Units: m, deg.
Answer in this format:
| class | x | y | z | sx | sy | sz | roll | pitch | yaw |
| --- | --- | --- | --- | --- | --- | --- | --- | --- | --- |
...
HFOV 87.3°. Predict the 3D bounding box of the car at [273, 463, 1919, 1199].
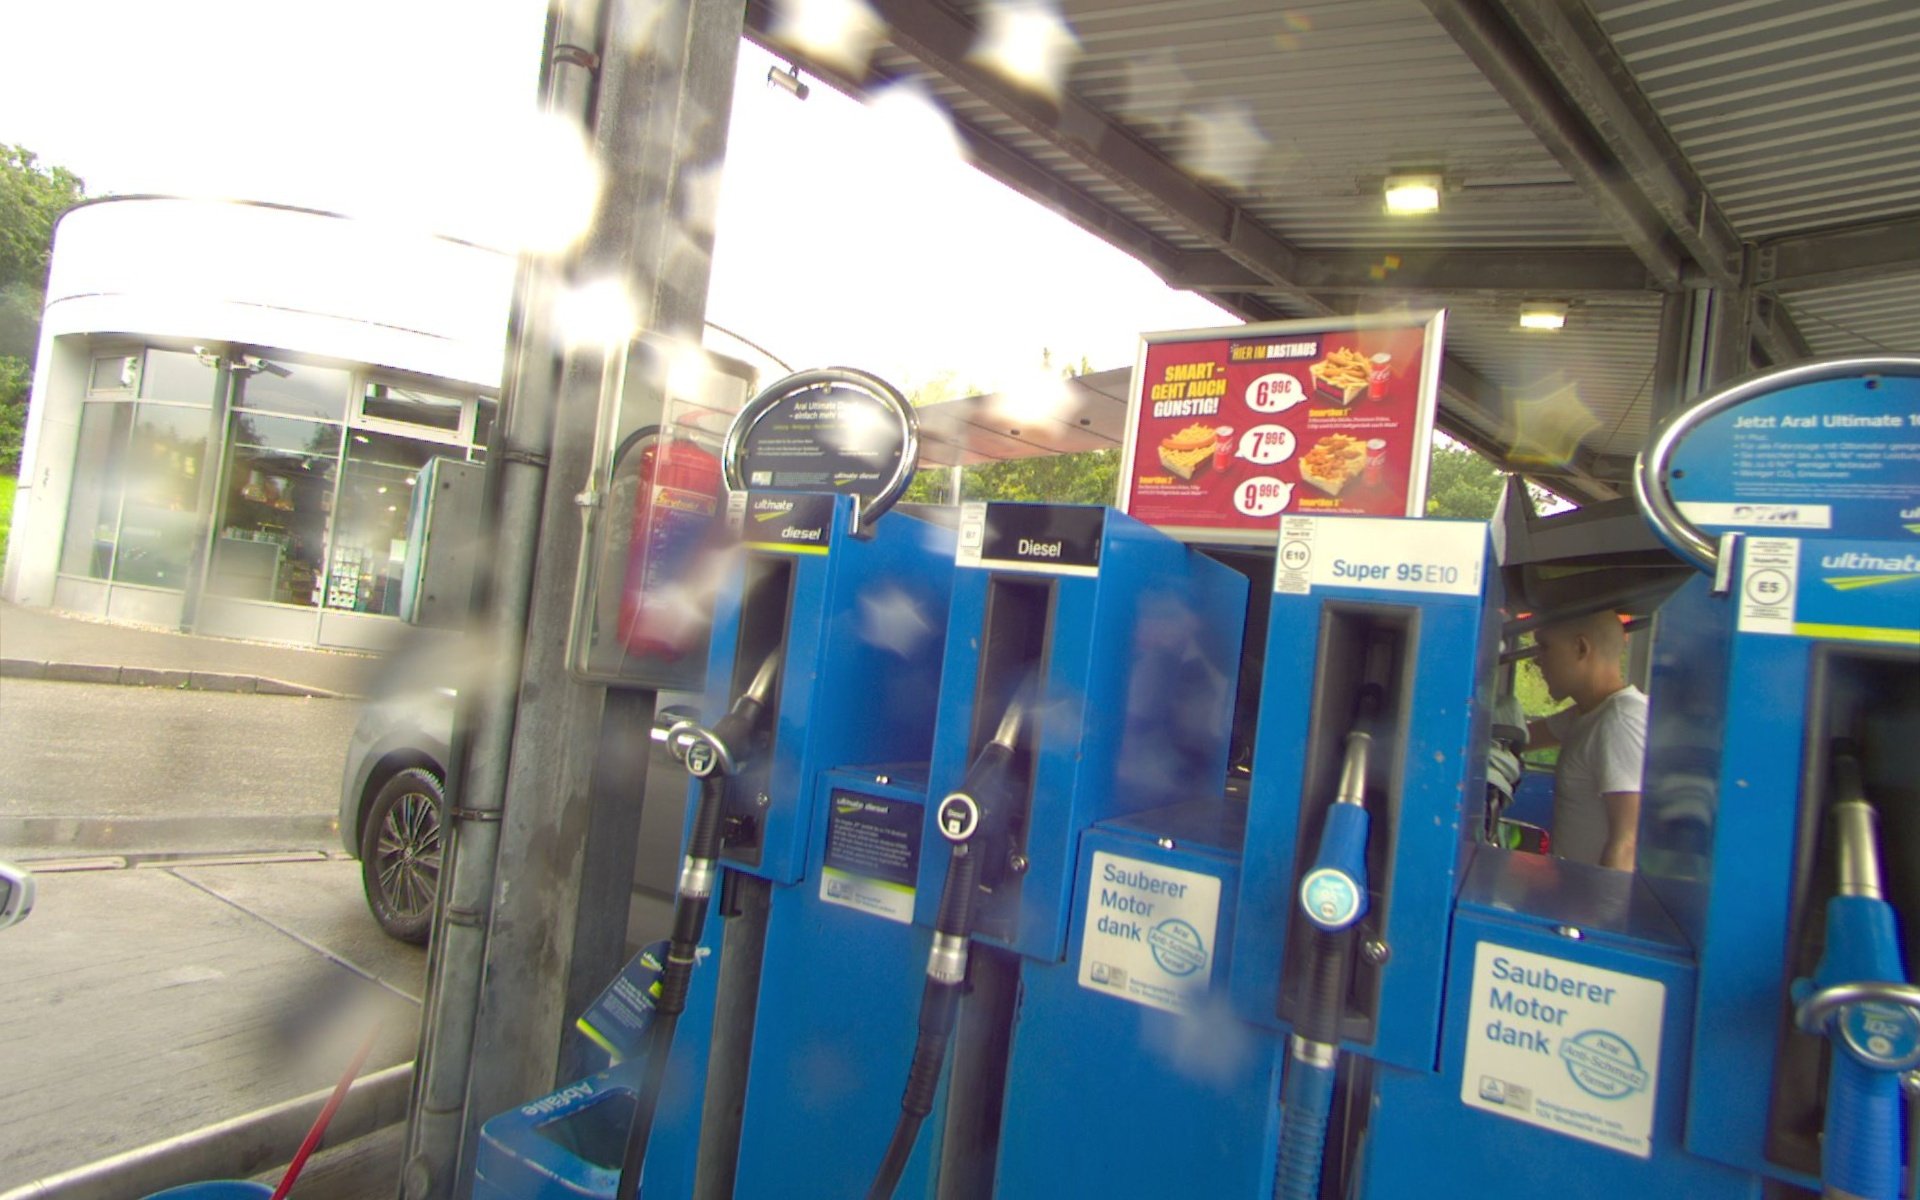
| class | x | y | z | sx | sy | sz | roll | pitch | yaw |
| --- | --- | --- | --- | --- | --- | --- | --- | --- | --- |
| car | -0.152 | 0.650 | 3.682 | 5.055 | 1.819 | 1.865 | 6 | -2 | 32 |
